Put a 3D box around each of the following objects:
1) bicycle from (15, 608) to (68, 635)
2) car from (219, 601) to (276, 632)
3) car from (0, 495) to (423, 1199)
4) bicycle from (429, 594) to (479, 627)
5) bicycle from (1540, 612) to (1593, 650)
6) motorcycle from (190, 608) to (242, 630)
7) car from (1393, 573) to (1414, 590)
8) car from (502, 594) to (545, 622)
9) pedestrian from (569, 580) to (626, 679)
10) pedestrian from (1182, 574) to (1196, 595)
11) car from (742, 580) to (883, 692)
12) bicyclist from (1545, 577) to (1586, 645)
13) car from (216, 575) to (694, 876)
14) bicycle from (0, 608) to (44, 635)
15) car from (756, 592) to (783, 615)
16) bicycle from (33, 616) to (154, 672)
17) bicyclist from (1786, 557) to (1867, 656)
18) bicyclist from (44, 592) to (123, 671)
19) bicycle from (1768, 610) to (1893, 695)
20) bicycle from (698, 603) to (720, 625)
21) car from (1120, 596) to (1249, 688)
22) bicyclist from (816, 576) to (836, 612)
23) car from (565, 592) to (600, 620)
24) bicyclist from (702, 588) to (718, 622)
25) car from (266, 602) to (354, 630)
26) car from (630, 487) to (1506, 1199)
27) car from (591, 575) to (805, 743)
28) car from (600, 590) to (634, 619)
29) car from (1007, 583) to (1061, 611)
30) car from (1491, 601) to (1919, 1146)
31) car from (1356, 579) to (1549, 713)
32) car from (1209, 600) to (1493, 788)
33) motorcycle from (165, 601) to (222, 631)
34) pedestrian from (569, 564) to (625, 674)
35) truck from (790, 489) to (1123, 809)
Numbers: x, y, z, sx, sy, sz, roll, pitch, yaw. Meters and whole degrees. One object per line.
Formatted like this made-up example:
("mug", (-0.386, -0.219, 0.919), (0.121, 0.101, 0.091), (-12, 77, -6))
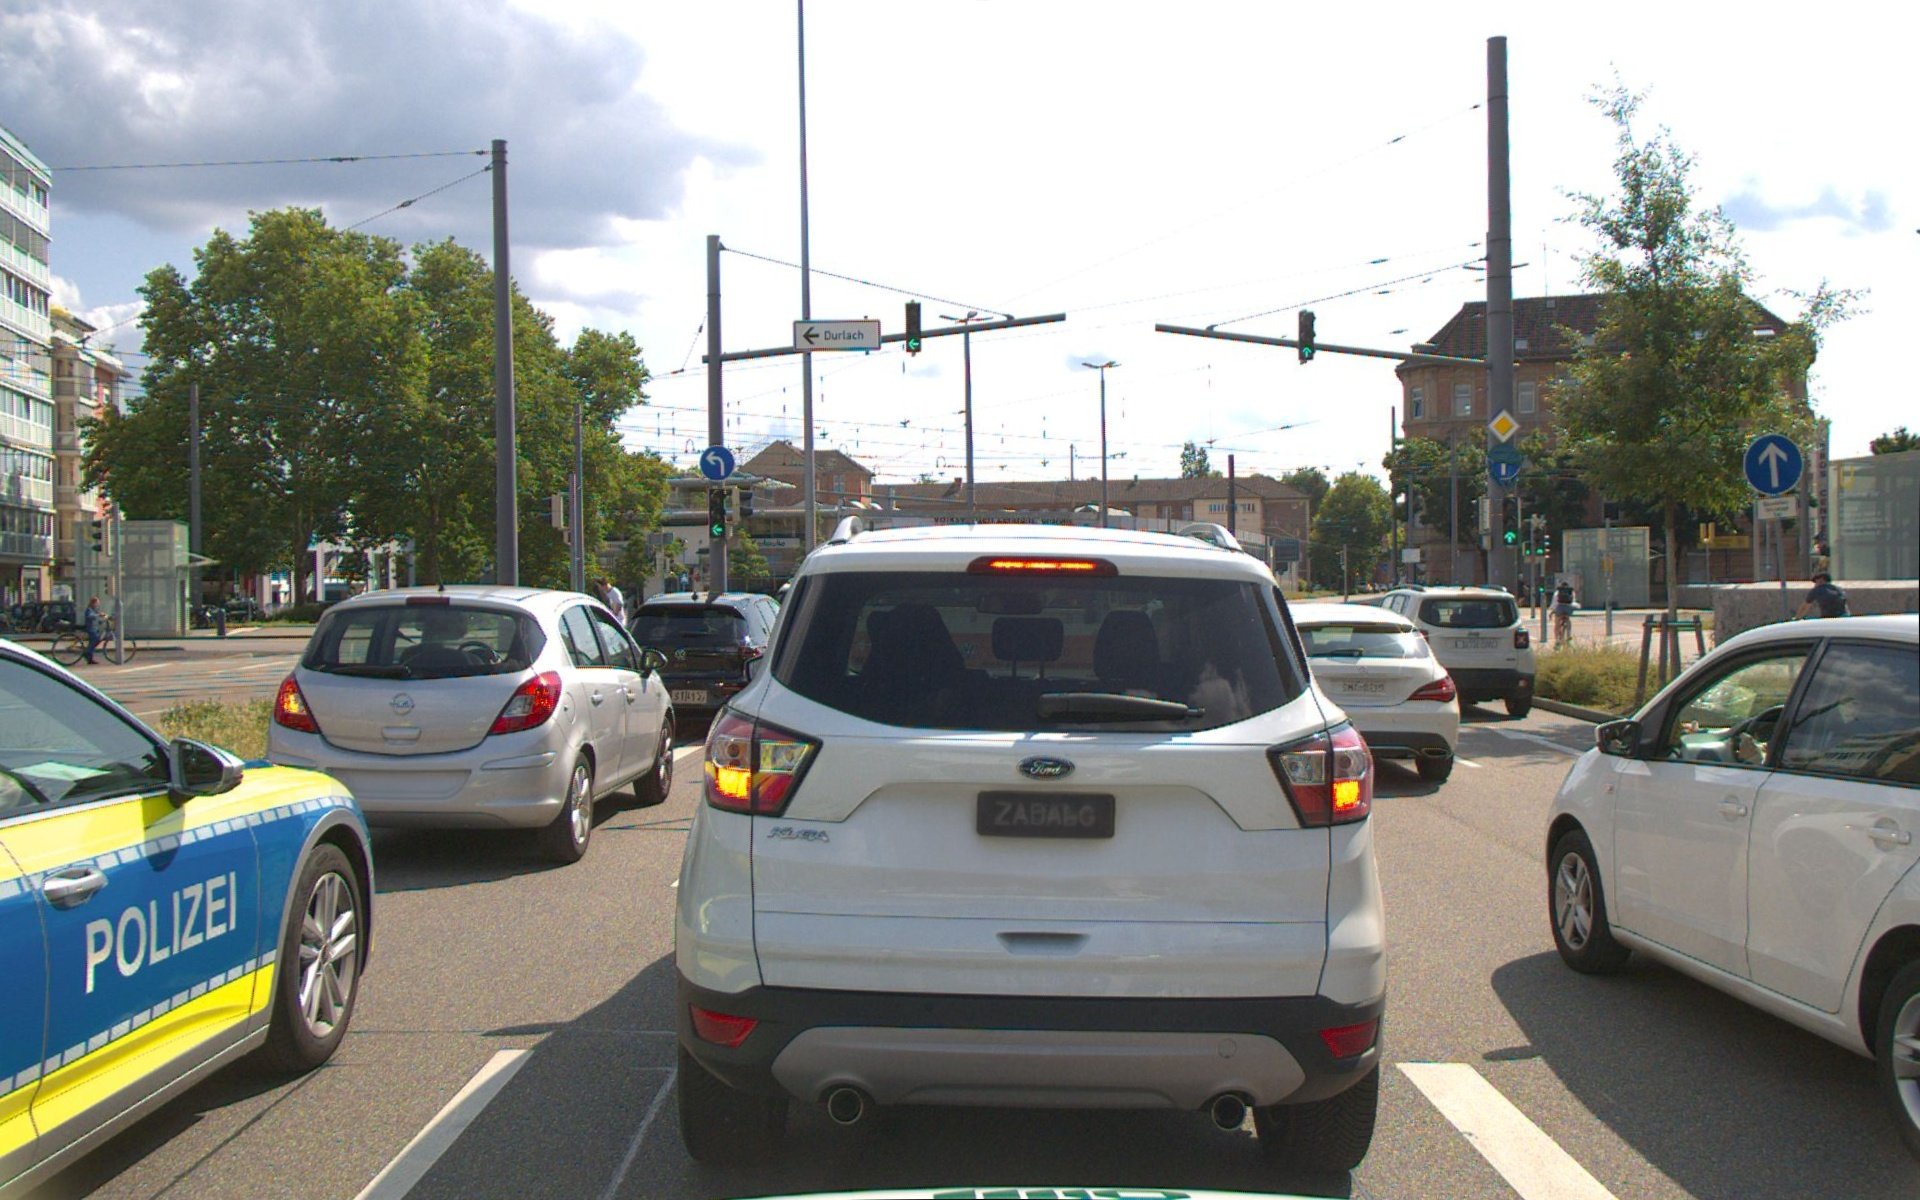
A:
("bicycle", (-40.702, 0.959, 73.295), (1.914, 1.167, 0.792), (-1, 0, -19))
("car", (-35.673, 0.847, 82.889), (1.872, 1.438, 3.987), (-1, -1, -12))
("car", (-2.734, 0.610, 3.300), (1.841, 1.595, 4.615), (-1, 0, -1))
("bicycle", (-22.785, 0.471, 74.571), (2.133, 1.439, 0.809), (0, 1, -16))
("bicycle", (13.265, 0.665, 36.195), (0.572, 0.789, 1.621), (-1, 0, 1))
("motorcycle", (-34.310, 0.878, 76.308), (0.795, 0.933, 2.037), (0, 1, 36))
("car", (45.498, -1.841, 169.781), (1.798, 1.681, 4.001), (0, 0, 19))
("car", (-32.726, 0.589, 124.236), (1.928, 1.971, 5.067), (-2, -1, -1))
("pedestrian", (-6.333, 0.512, 28.910), (0.830, 1.676, 0.692), (-1, -1, -1))
("pedestrian", (20.201, -1.360, 145.753), (0.860, 1.767, 0.873), (1, -1, 35))
("car", (-2.213, 0.507, 25.874), (1.999, 1.606, 4.537), (0, 0, -3))
("bicyclist", (13.249, 0.233, 36.198), (0.596, 1.476, 0.774), (-1, 0, 0))
("car", (-2.881, 0.631, 10.388), (1.810, 1.500, 3.999), (-1, 0, -1))
("bicycle", (-40.948, 0.935, 71.988), (1.776, 1.167, 0.792), (0, 0, -19))
("car", (-13.984, 0.282, 121.767), (1.783, 1.560, 3.913), (-2, -1, -5))
("bicycle", (-19.980, 1.000, 38.178), (2.248, 1.209, 0.994), (-1, 0, -4))
("bicyclist", (11.250, 0.074, 21.488), (0.621, 1.241, 0.925), (-2, 1, 9))
("bicyclist", (-20.210, 0.715, 38.166), (1.271, 1.761, 0.994), (-1, 0, -3))
("bicycle", (11.313, 0.663, 21.571), (0.829, 0.987, 1.963), (-3, 0, 10))
("bicycle", (-13.511, 0.737, 88.985), (0.631, 1.145, 1.767), (-1, 1, -29))
("car", (3.709, 0.656, 27.871), (1.811, 1.443, 3.680), (0, 0, 2))
("bicyclist", (-6.483, -0.304, 80.080), (0.743, 1.712, 0.761), (-2, 0, 14))
("car", (-28.146, 0.483, 123.454), (1.929, 1.971, 4.226), (-2, -1, -5))
("bicyclist", (-13.420, 0.266, 88.831), (0.631, 1.768, 0.655), (0, 1, -30))
("car", (-33.810, 0.849, 86.059), (3.907, 1.350, 1.632), (-2, -1, -3))
("car", (0.310, 0.618, 5.377), (1.789, 1.693, 3.957), (0, 0, 3))
("car", (-2.730, 0.557, 18.190), (1.727, 1.595, 4.525), (-1, 0, -2))
("car", (-25.539, 0.356, 123.239), (1.955, 2.049, 4.226), (-2, -1, -5))
("car", (4.230, -0.189, 93.745), (1.860, 1.487, 3.969), (-2, 0, 21))
("car", (3.366, 0.746, 5.805), (1.616, 1.446, 3.999), (0, 0, -2))
("car", (6.670, 0.592, 22.810), (1.797, 1.681, 4.002), (0, 0, 5))
("car", (3.302, 0.724, 14.642), (1.811, 1.443, 3.680), (0, 0, 3))
("motorcycle", (-33.144, 0.690, 71.483), (2.165, 1.259, 0.906), (-1, 1, 17))
("pedestrian", (-6.517, 0.340, 29.739), (0.830, 1.950, 0.692), (-1, -1, -1))
("truck", (0.075, 0.328, 14.401), (2.290, 2.193, 5.853), (1, 0, 2))
